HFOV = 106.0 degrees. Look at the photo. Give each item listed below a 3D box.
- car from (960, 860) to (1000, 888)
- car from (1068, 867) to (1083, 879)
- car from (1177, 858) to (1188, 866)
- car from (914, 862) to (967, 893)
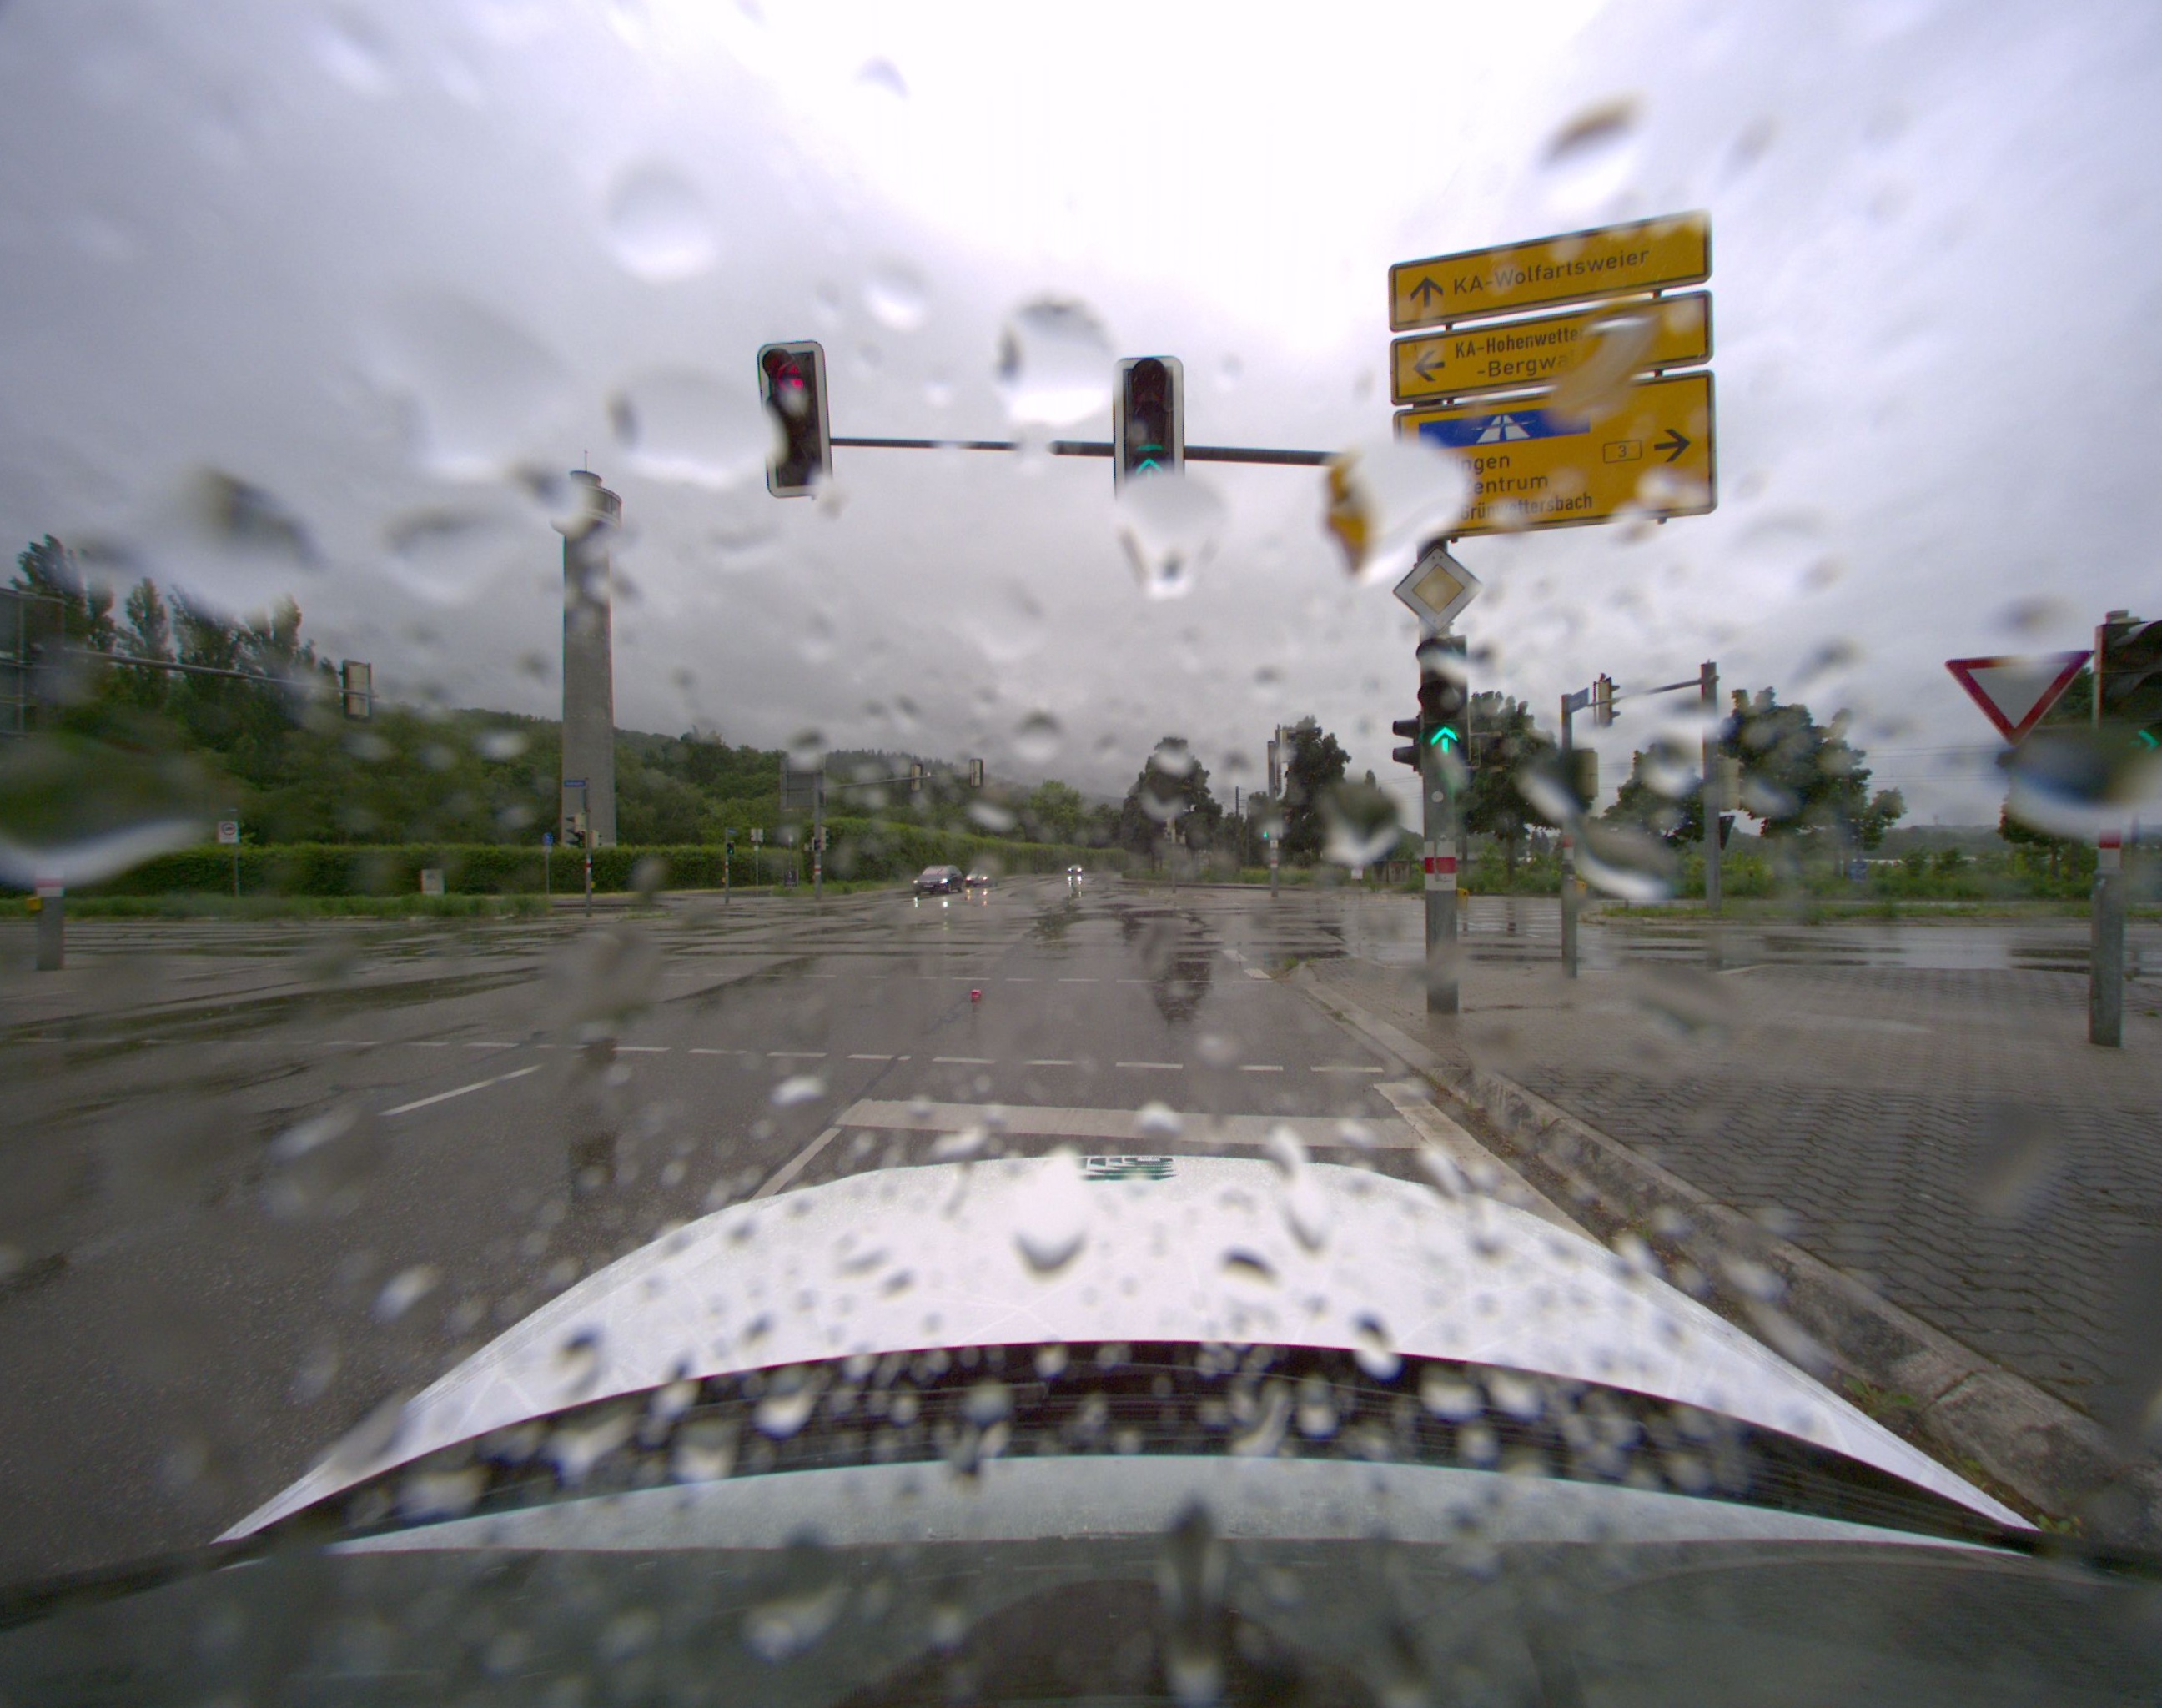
[{"bbox_3d":[-6.651,1.320,54.051,2.029,1.708,4.067,-1,0,2],"label":"car"},{"bbox_3d":[-0.729,2.625,110.822,1.777,1.505,4.063,-1,-2,3],"label":"car"},{"bbox_3d":[23.543,1.842,188.708,1.939,1.904,4.137,-1,0,15],"label":"car"},{"bbox_3d":[-7.273,1.189,42.457,1.701,1.466,4.457,-1,0,3],"label":"car"}]
